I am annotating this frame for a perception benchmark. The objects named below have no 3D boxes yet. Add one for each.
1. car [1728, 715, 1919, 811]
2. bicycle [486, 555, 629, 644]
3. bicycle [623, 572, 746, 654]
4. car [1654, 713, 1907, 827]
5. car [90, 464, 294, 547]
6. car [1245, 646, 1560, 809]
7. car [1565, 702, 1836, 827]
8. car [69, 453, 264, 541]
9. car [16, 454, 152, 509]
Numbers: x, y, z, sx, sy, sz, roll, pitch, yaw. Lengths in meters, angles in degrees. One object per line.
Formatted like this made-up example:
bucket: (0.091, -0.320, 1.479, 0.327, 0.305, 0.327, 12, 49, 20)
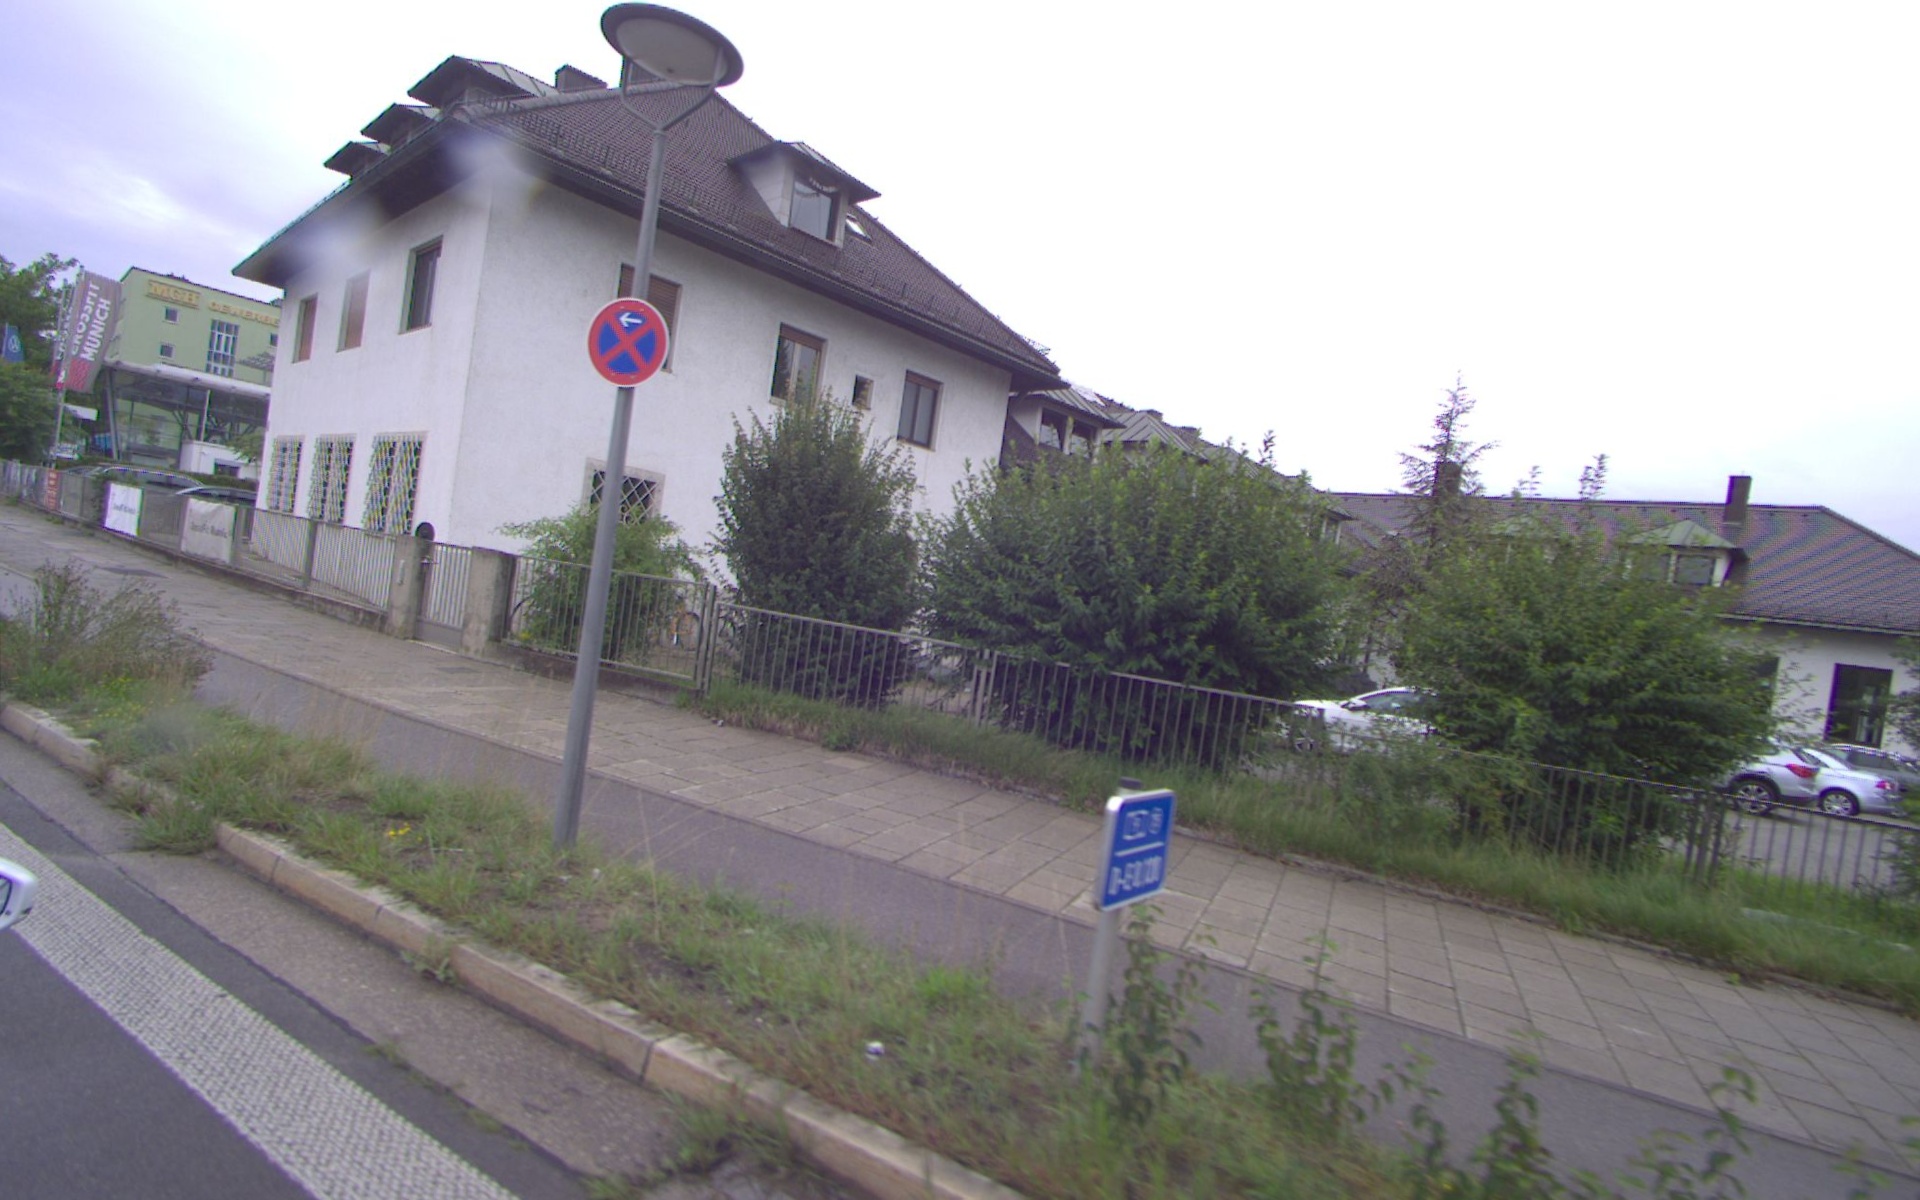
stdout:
car: (22.616, 4.172, 25.845, 1.868, 1.479, 4.194, 8, 3, -44)
bicycle: (-5.949, 0.018, 14.958, 0.467, 1.082, 1.842, 9, 0, 42)
bicycle: (-4.462, 0.233, 16.408, 0.467, 1.126, 1.842, 9, 0, 42)
car: (18.721, 3.798, 23.135, 4.189, 1.479, 1.870, 12, 3, 42)
car: (-20.909, -2.551, 27.494, 1.900, 1.467, 4.090, 9, 0, 42)
car: (7.160, 1.981, 16.540, 4.190, 1.550, 1.870, 13, 4, 42)
car: (15.369, 3.322, 21.029, 1.869, 1.440, 4.192, 7, 4, -45)
car: (-23.009, -2.953, 29.265, 1.900, 1.747, 4.090, 9, 0, 42)
car: (-35.956, -4.863, 41.340, 1.769, 1.478, 4.005, 9, 1, 44)
